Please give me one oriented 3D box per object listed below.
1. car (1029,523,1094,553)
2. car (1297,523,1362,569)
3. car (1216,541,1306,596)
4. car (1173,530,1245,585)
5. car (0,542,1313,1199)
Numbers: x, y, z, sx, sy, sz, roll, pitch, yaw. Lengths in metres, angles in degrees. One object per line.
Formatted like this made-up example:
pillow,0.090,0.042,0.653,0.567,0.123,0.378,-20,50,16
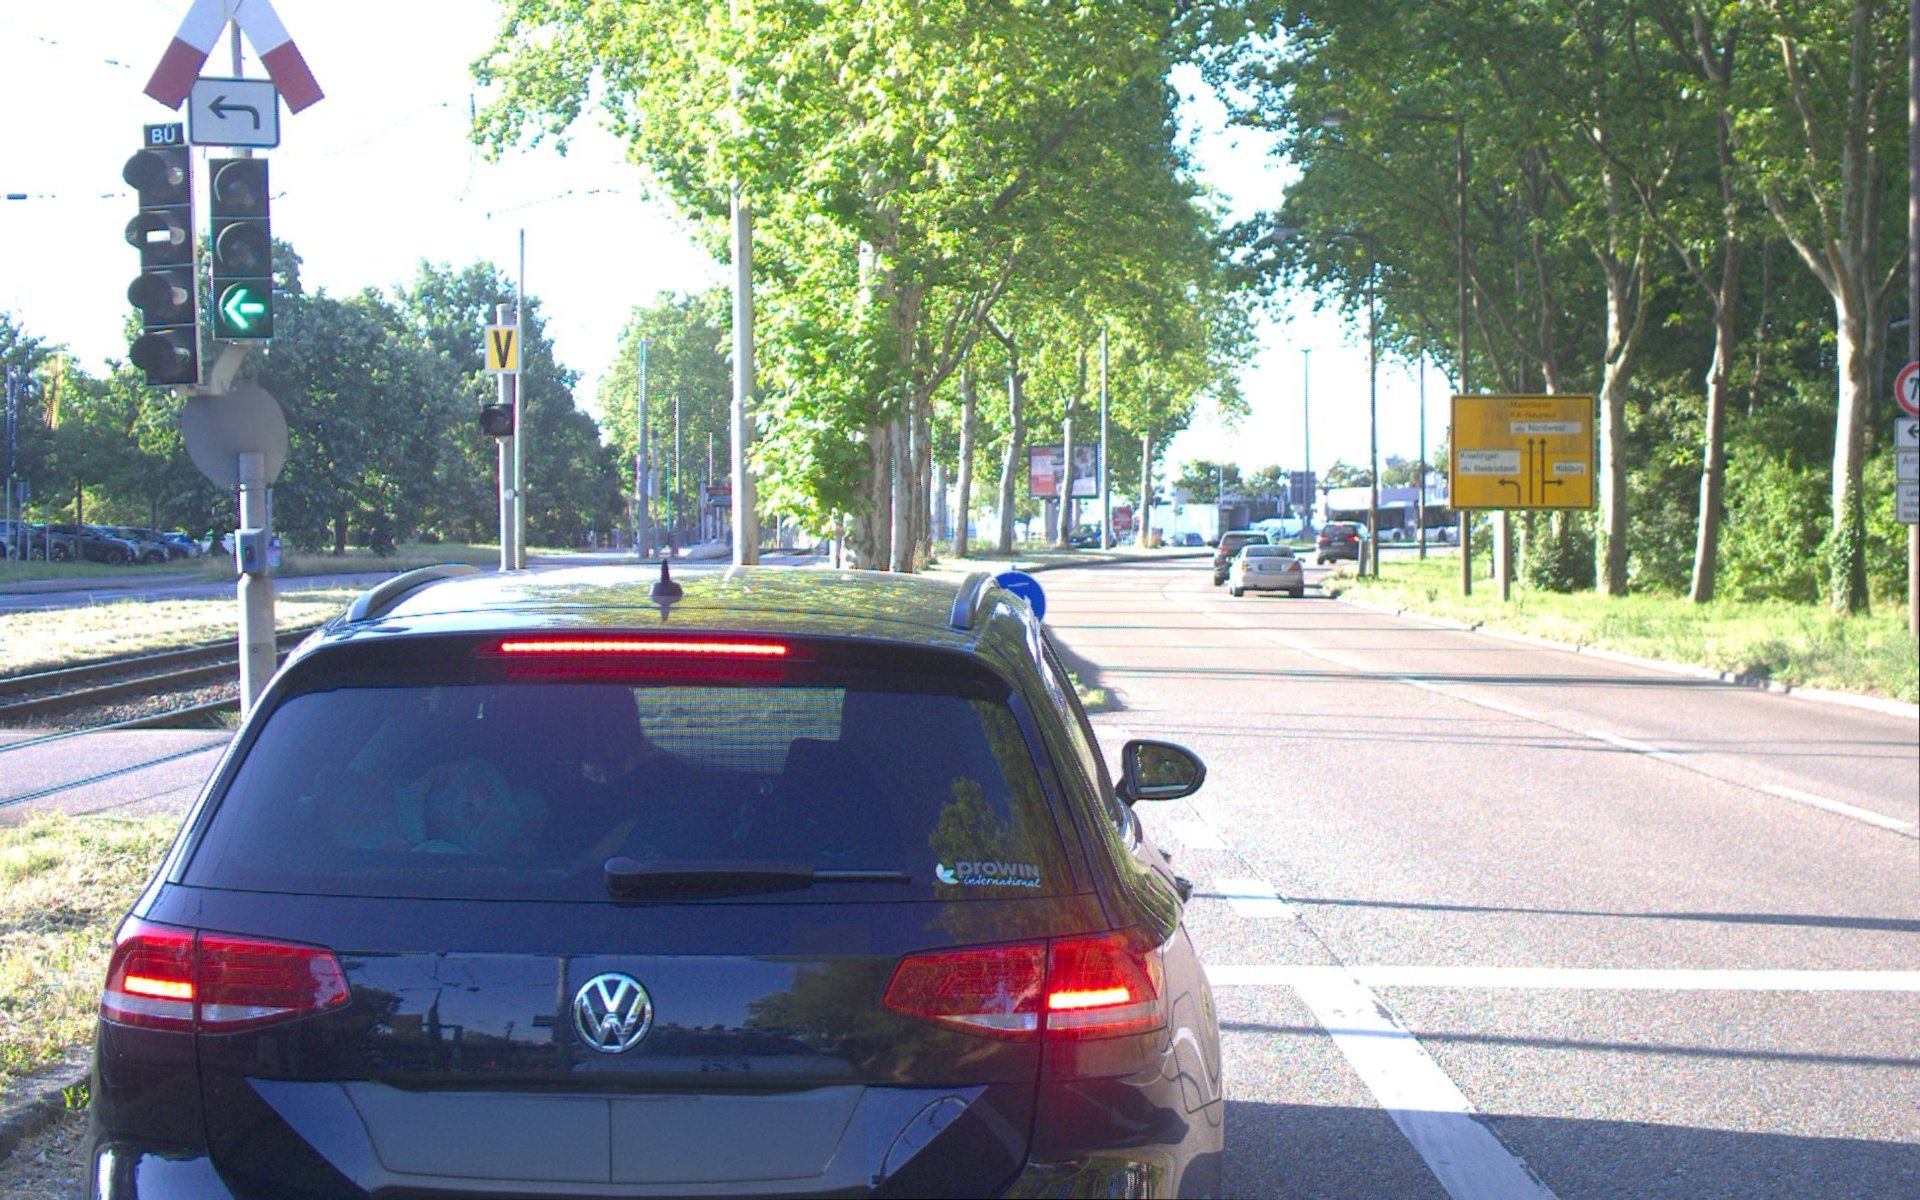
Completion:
car,4.944,-2.991,166.790,1.996,1.415,3.996,1,1,20
car,14.313,-2.074,133.035,1.873,1.629,4.367,4,1,13
car,7.470,-0.804,85.486,1.608,1.290,3.983,1,1,-4
car,7.109,-1.229,98.438,1.707,1.555,4.166,0,1,0
car,-0.471,0.637,6.347,1.795,1.459,3.583,1,1,-1
